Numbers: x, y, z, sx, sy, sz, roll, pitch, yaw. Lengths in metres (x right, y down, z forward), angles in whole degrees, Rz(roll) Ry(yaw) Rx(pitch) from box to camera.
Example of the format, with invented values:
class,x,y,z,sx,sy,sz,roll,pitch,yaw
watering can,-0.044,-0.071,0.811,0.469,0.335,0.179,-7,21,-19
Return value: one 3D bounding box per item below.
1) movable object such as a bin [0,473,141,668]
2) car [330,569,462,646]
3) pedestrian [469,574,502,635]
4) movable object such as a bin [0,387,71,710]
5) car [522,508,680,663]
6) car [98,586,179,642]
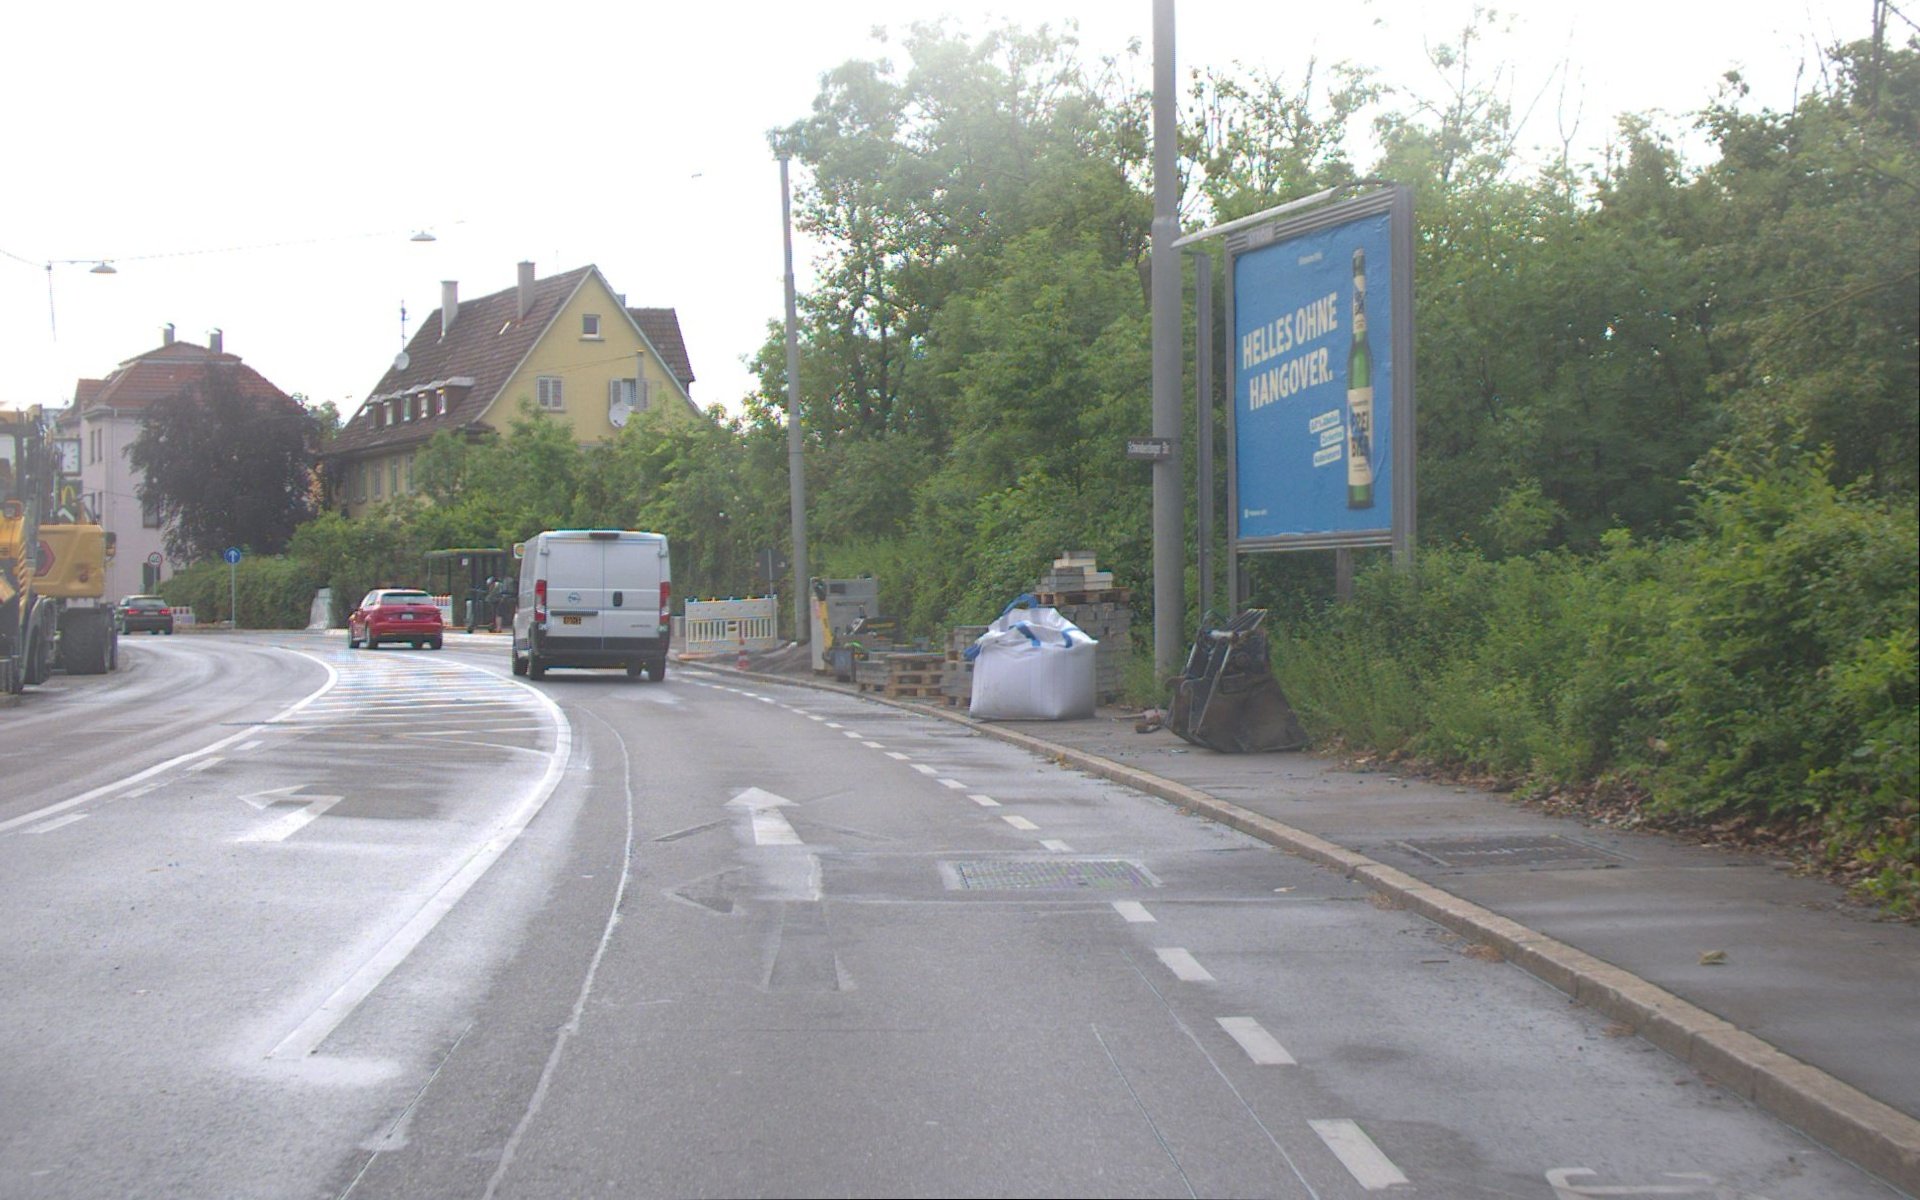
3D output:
class,x,y,z,sx,sy,sz,roll,pitch,yaw
movable object such as a bin,-15.548,-0.554,58.567,2.870,3.162,4.127,1,2,-11
car,-13.534,0.162,82.286,2.237,1.651,4.715,1,2,-20
pedestrian,-13.788,0.131,99.857,0.905,1.725,0.654,1,2,-9
movable object such as a bin,-13.115,-0.737,43.644,2.774,3.842,5.989,1,2,-7
car,-5.559,-0.270,52.774,2.237,2.205,4.715,1,2,-8
car,-29.176,0.488,122.001,2.237,1.798,4.715,1,2,-20
